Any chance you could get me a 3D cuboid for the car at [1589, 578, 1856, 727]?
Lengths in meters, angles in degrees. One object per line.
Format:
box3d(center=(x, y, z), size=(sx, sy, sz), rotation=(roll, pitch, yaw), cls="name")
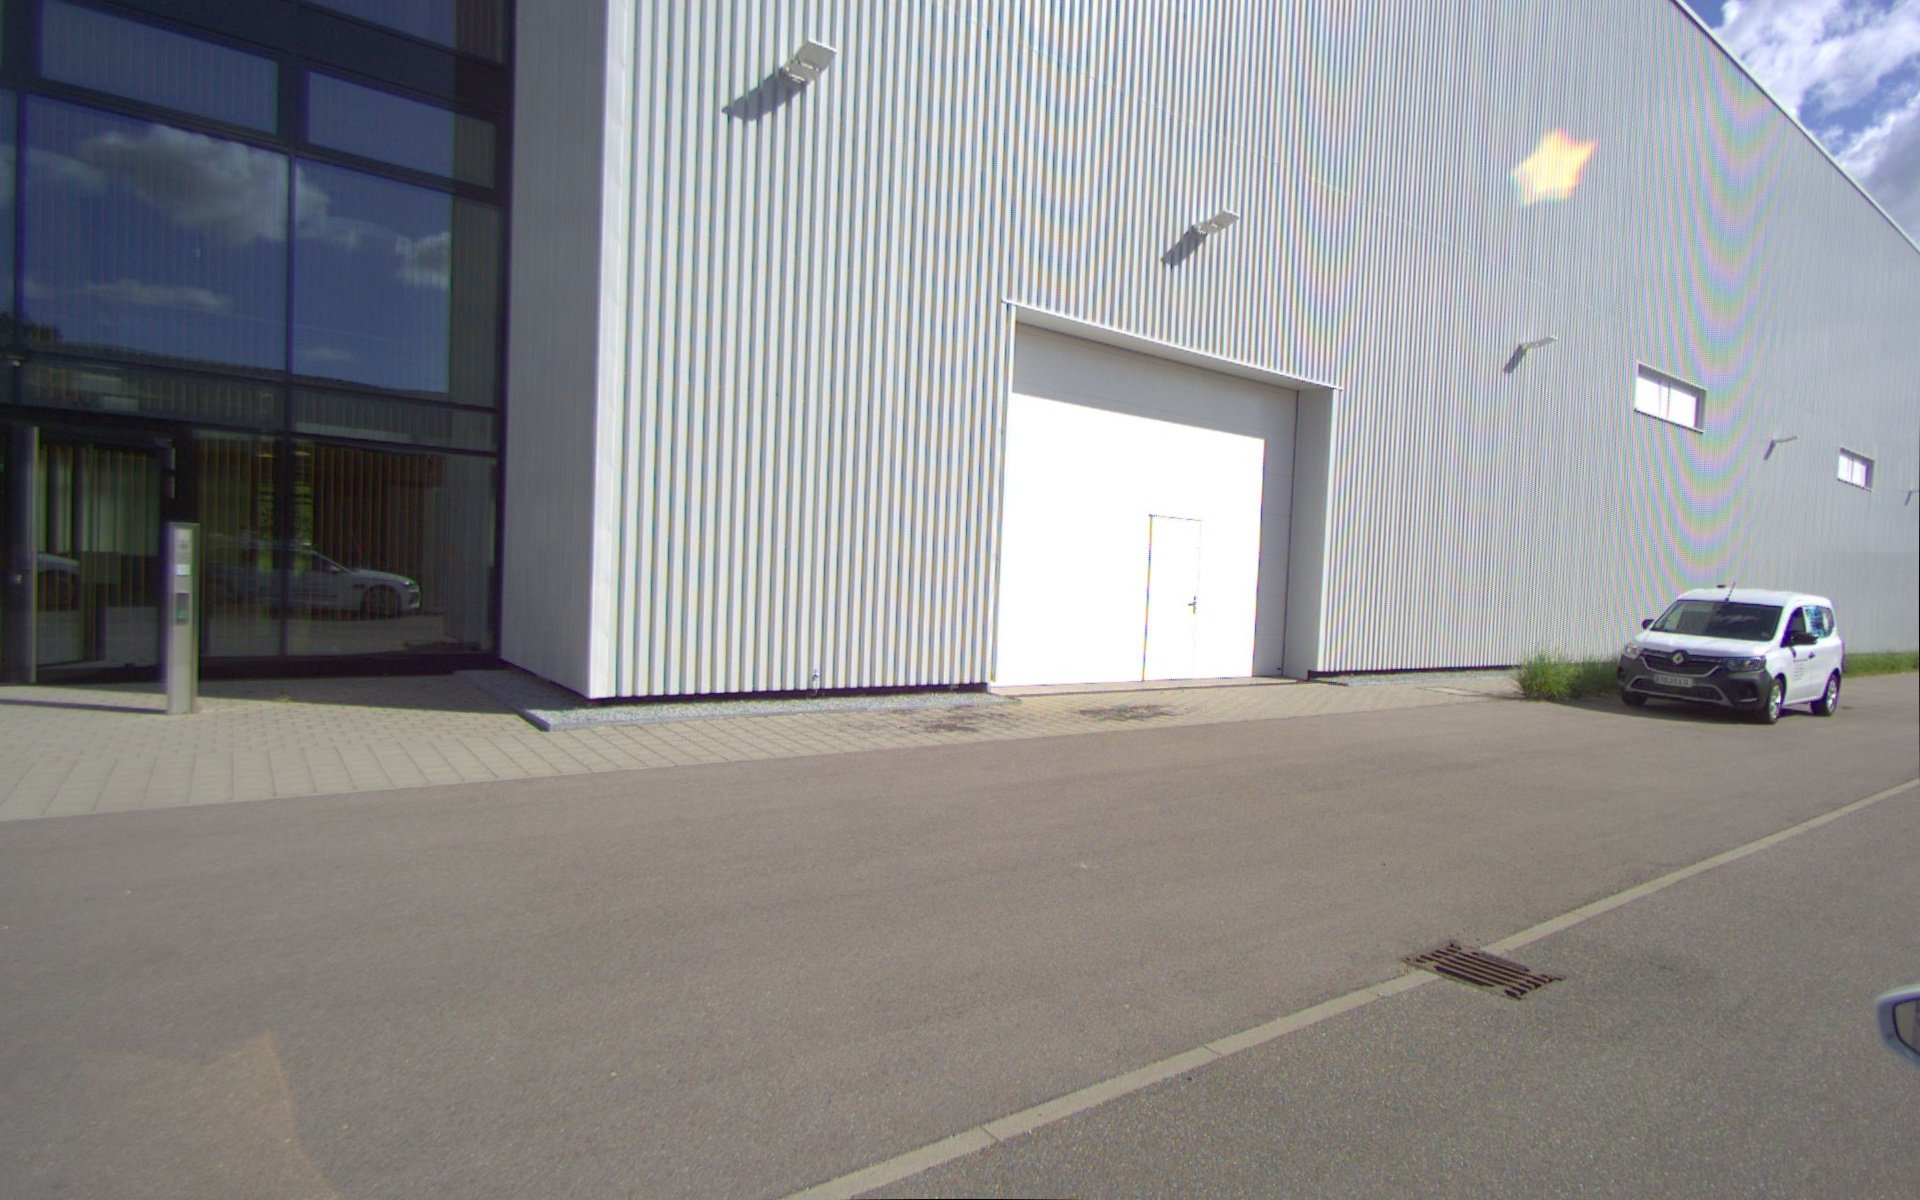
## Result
box3d(center=(11.462, 0.702, 15.000), size=(4.555, 1.814, 1.914), rotation=(1, 3, -37), cls="car")
